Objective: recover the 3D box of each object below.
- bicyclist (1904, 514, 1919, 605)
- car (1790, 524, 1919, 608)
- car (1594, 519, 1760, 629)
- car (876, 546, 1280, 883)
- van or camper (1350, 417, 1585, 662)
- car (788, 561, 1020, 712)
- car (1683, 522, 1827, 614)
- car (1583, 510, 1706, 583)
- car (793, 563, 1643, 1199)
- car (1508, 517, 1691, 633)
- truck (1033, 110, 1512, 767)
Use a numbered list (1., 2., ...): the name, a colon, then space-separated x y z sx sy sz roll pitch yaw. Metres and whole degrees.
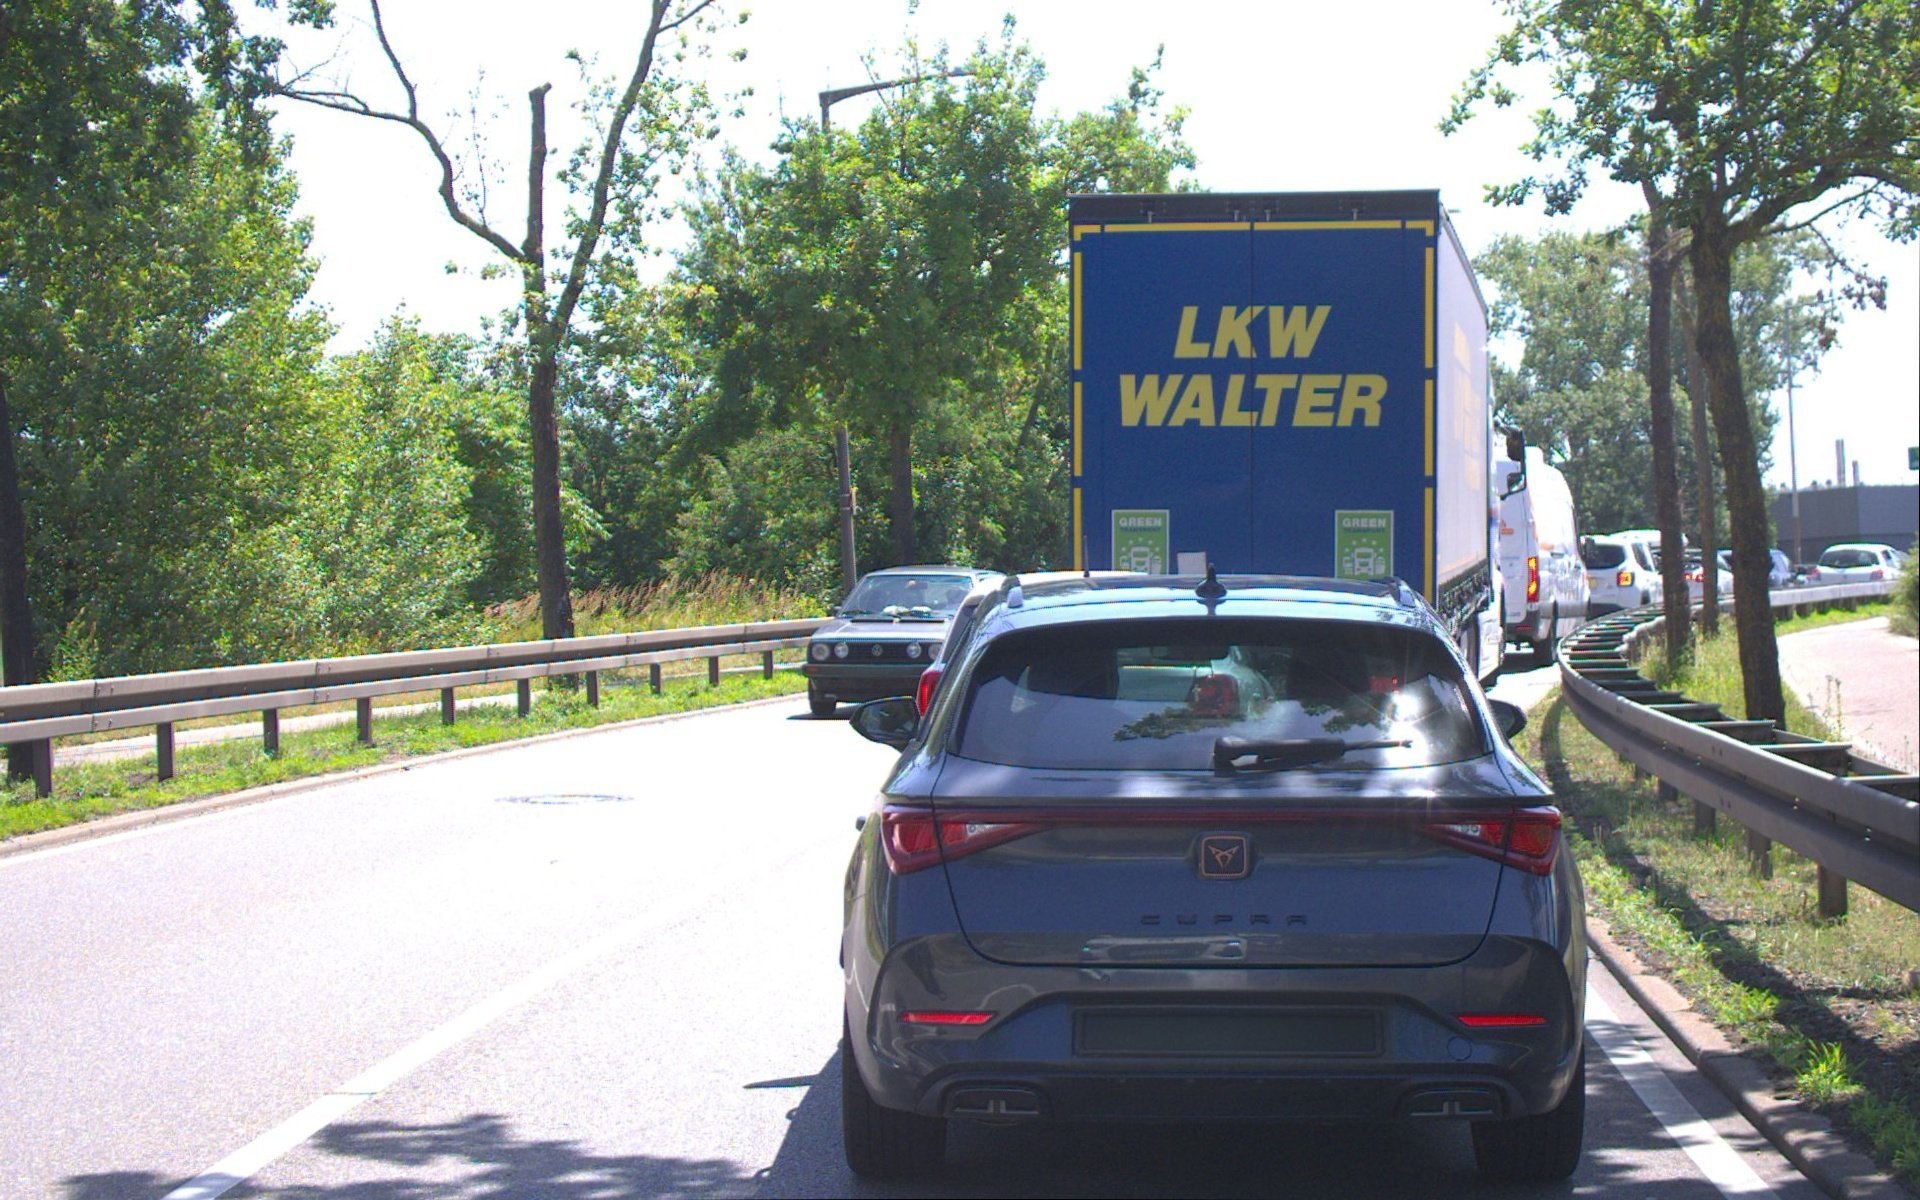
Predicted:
1. bicyclist: 16.411 -0.678 57.936 0.861 1.518 0.979 1 1 20
2. car: 19.503 -0.753 74.820 1.996 1.762 4.749 1 1 23
3. car: 12.418 -0.463 59.309 1.996 1.802 4.840 1 1 22
4. car: 0.582 0.490 17.481 1.809 1.503 4.000 0 1 2
5. van or camper: 6.763 -0.786 45.224 2.468 2.988 6.082 0 1 14
6. car: -0.488 0.311 33.366 1.557 1.367 3.887 0 1 10
7. car: 15.379 -0.622 66.342 1.996 1.711 4.863 1 1 22
8. car: 14.836 -1.151 74.381 1.752 1.550 4.122 1 1 23
9. car: 0.542 0.624 9.030 1.744 1.427 3.880 0 1 0
10. car: 9.938 -0.402 53.182 1.996 1.706 4.615 1 1 21
11. truck: 3.443 -1.196 31.761 2.951 4.433 16.791 0 1 10
